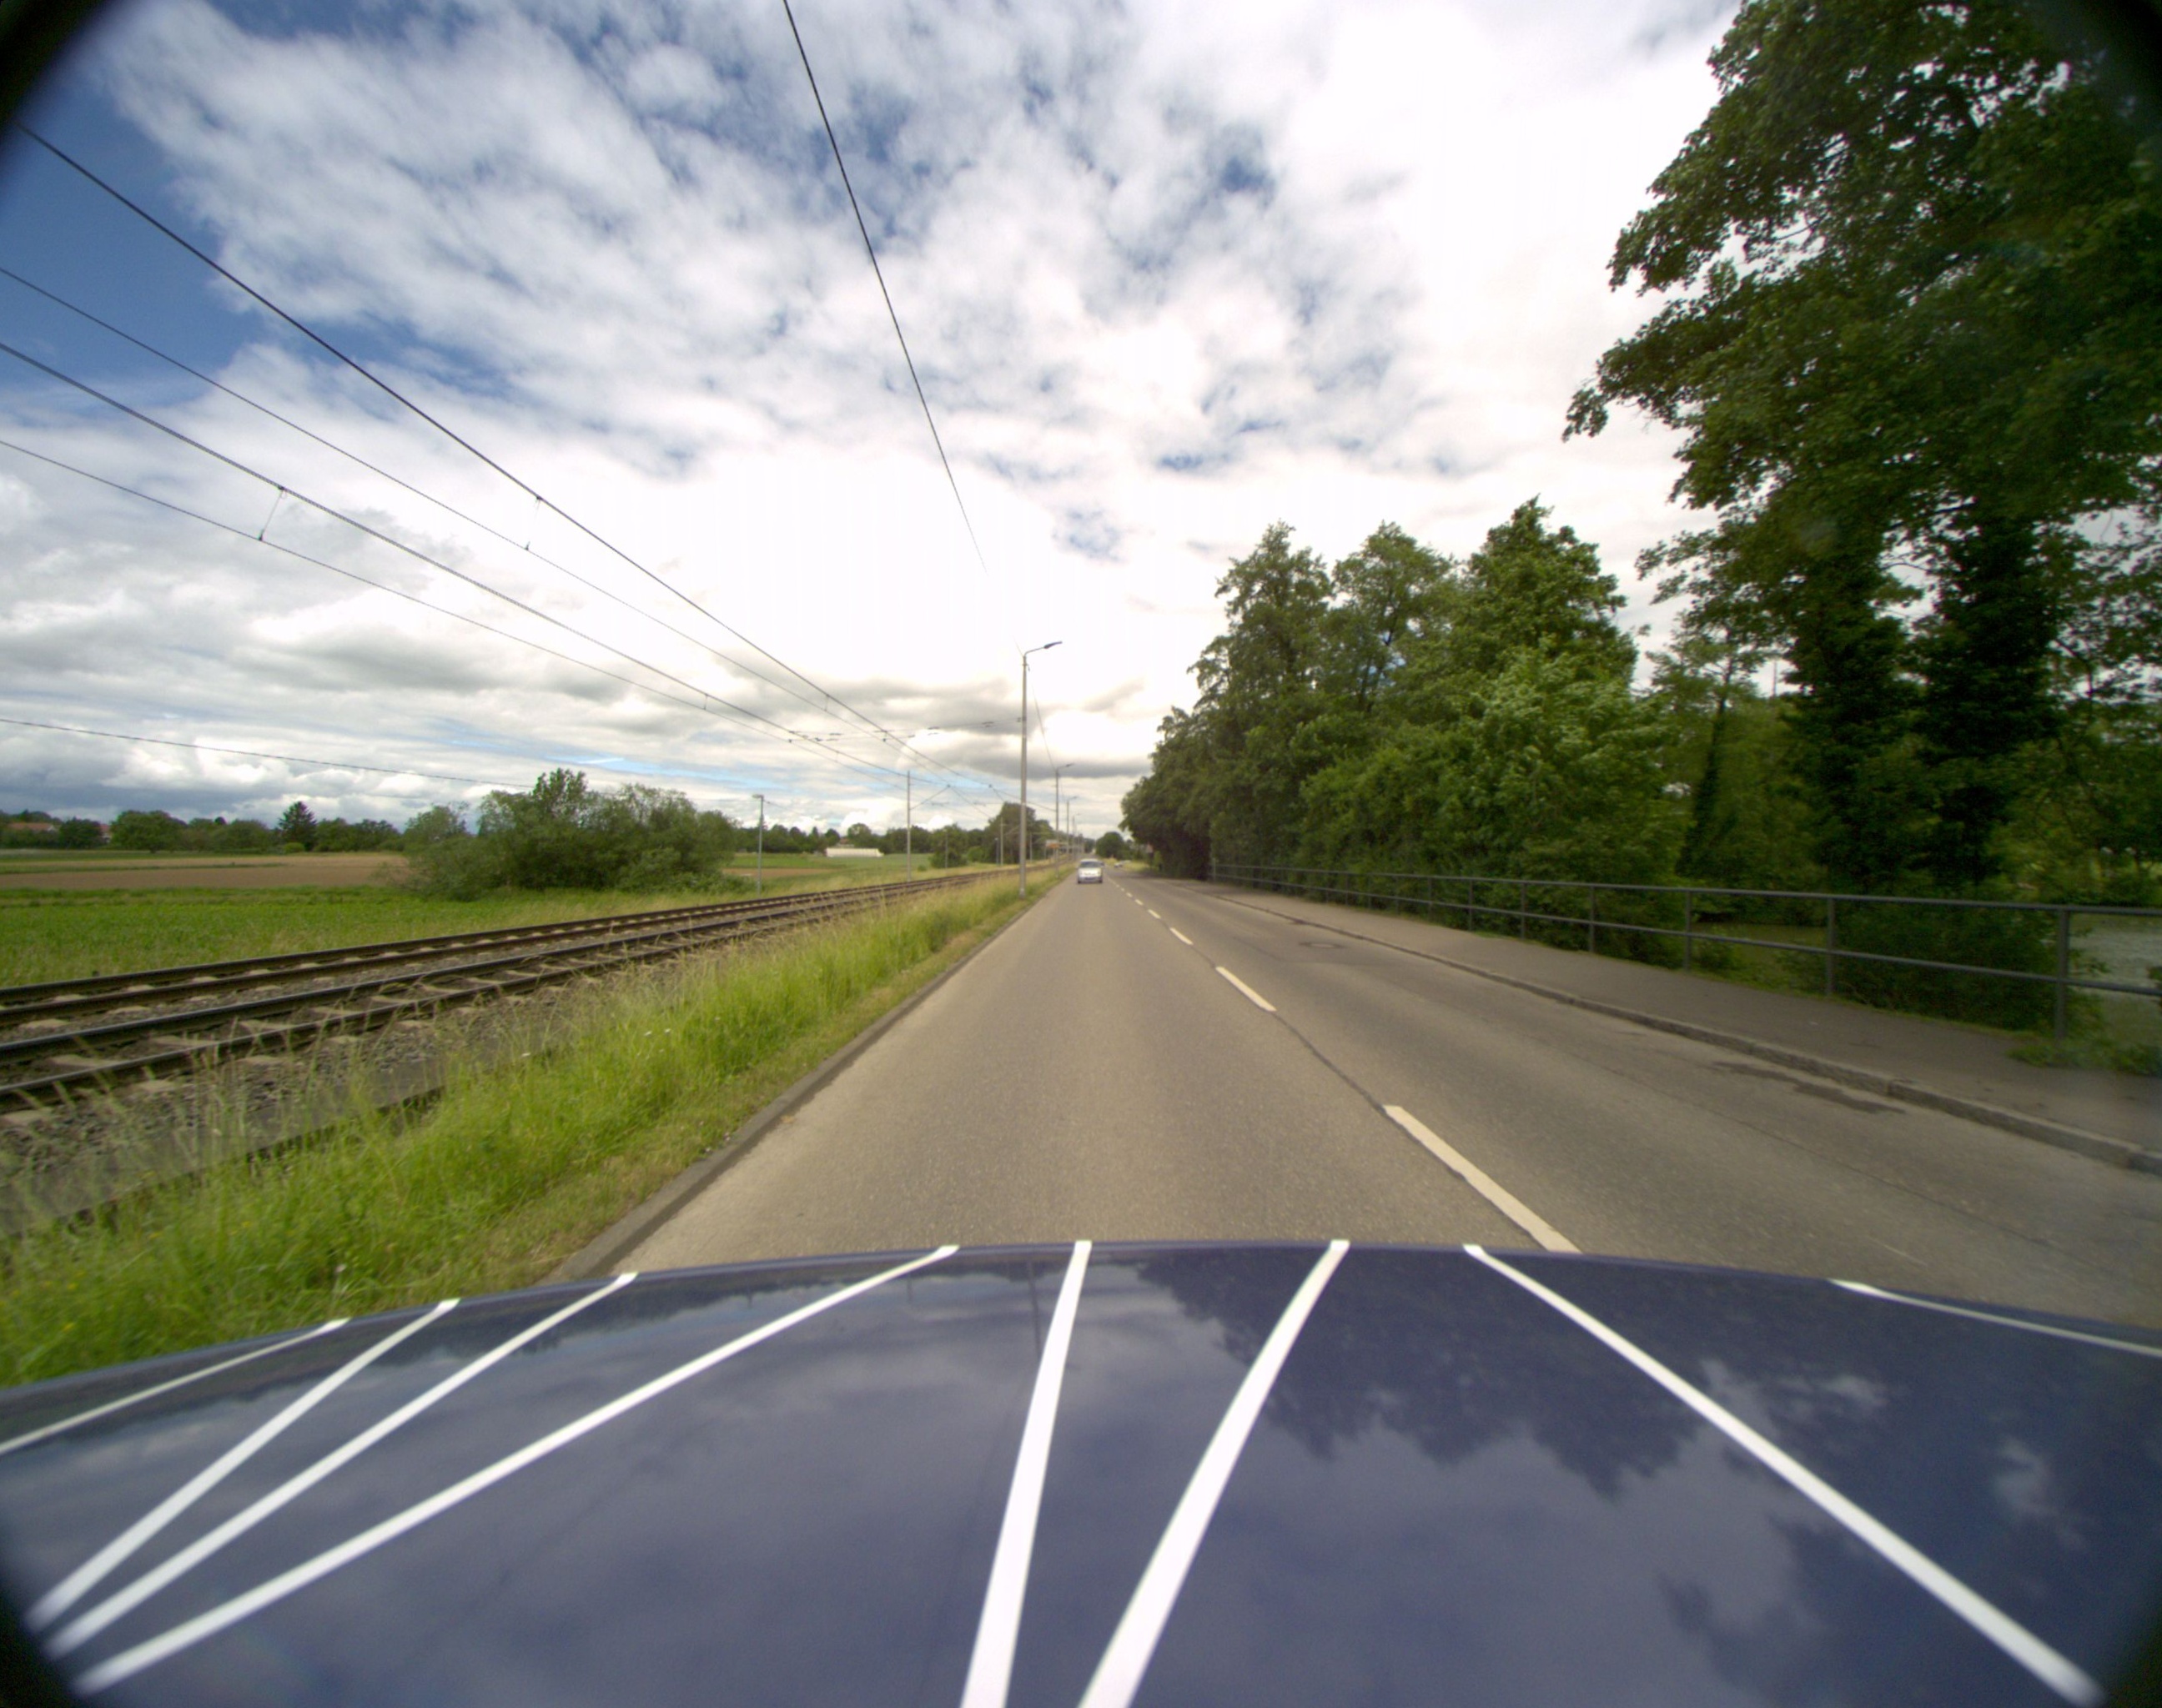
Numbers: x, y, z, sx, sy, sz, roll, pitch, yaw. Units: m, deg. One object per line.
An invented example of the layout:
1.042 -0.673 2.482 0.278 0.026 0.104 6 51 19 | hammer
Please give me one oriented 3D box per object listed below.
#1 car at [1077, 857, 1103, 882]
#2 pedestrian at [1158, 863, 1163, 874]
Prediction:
0.592 1.030 51.402 1.643 1.510 3.869 -1 1 1 | car
11.337 2.015 108.466 0.706 1.584 0.707 0 -1 11 | pedestrian
